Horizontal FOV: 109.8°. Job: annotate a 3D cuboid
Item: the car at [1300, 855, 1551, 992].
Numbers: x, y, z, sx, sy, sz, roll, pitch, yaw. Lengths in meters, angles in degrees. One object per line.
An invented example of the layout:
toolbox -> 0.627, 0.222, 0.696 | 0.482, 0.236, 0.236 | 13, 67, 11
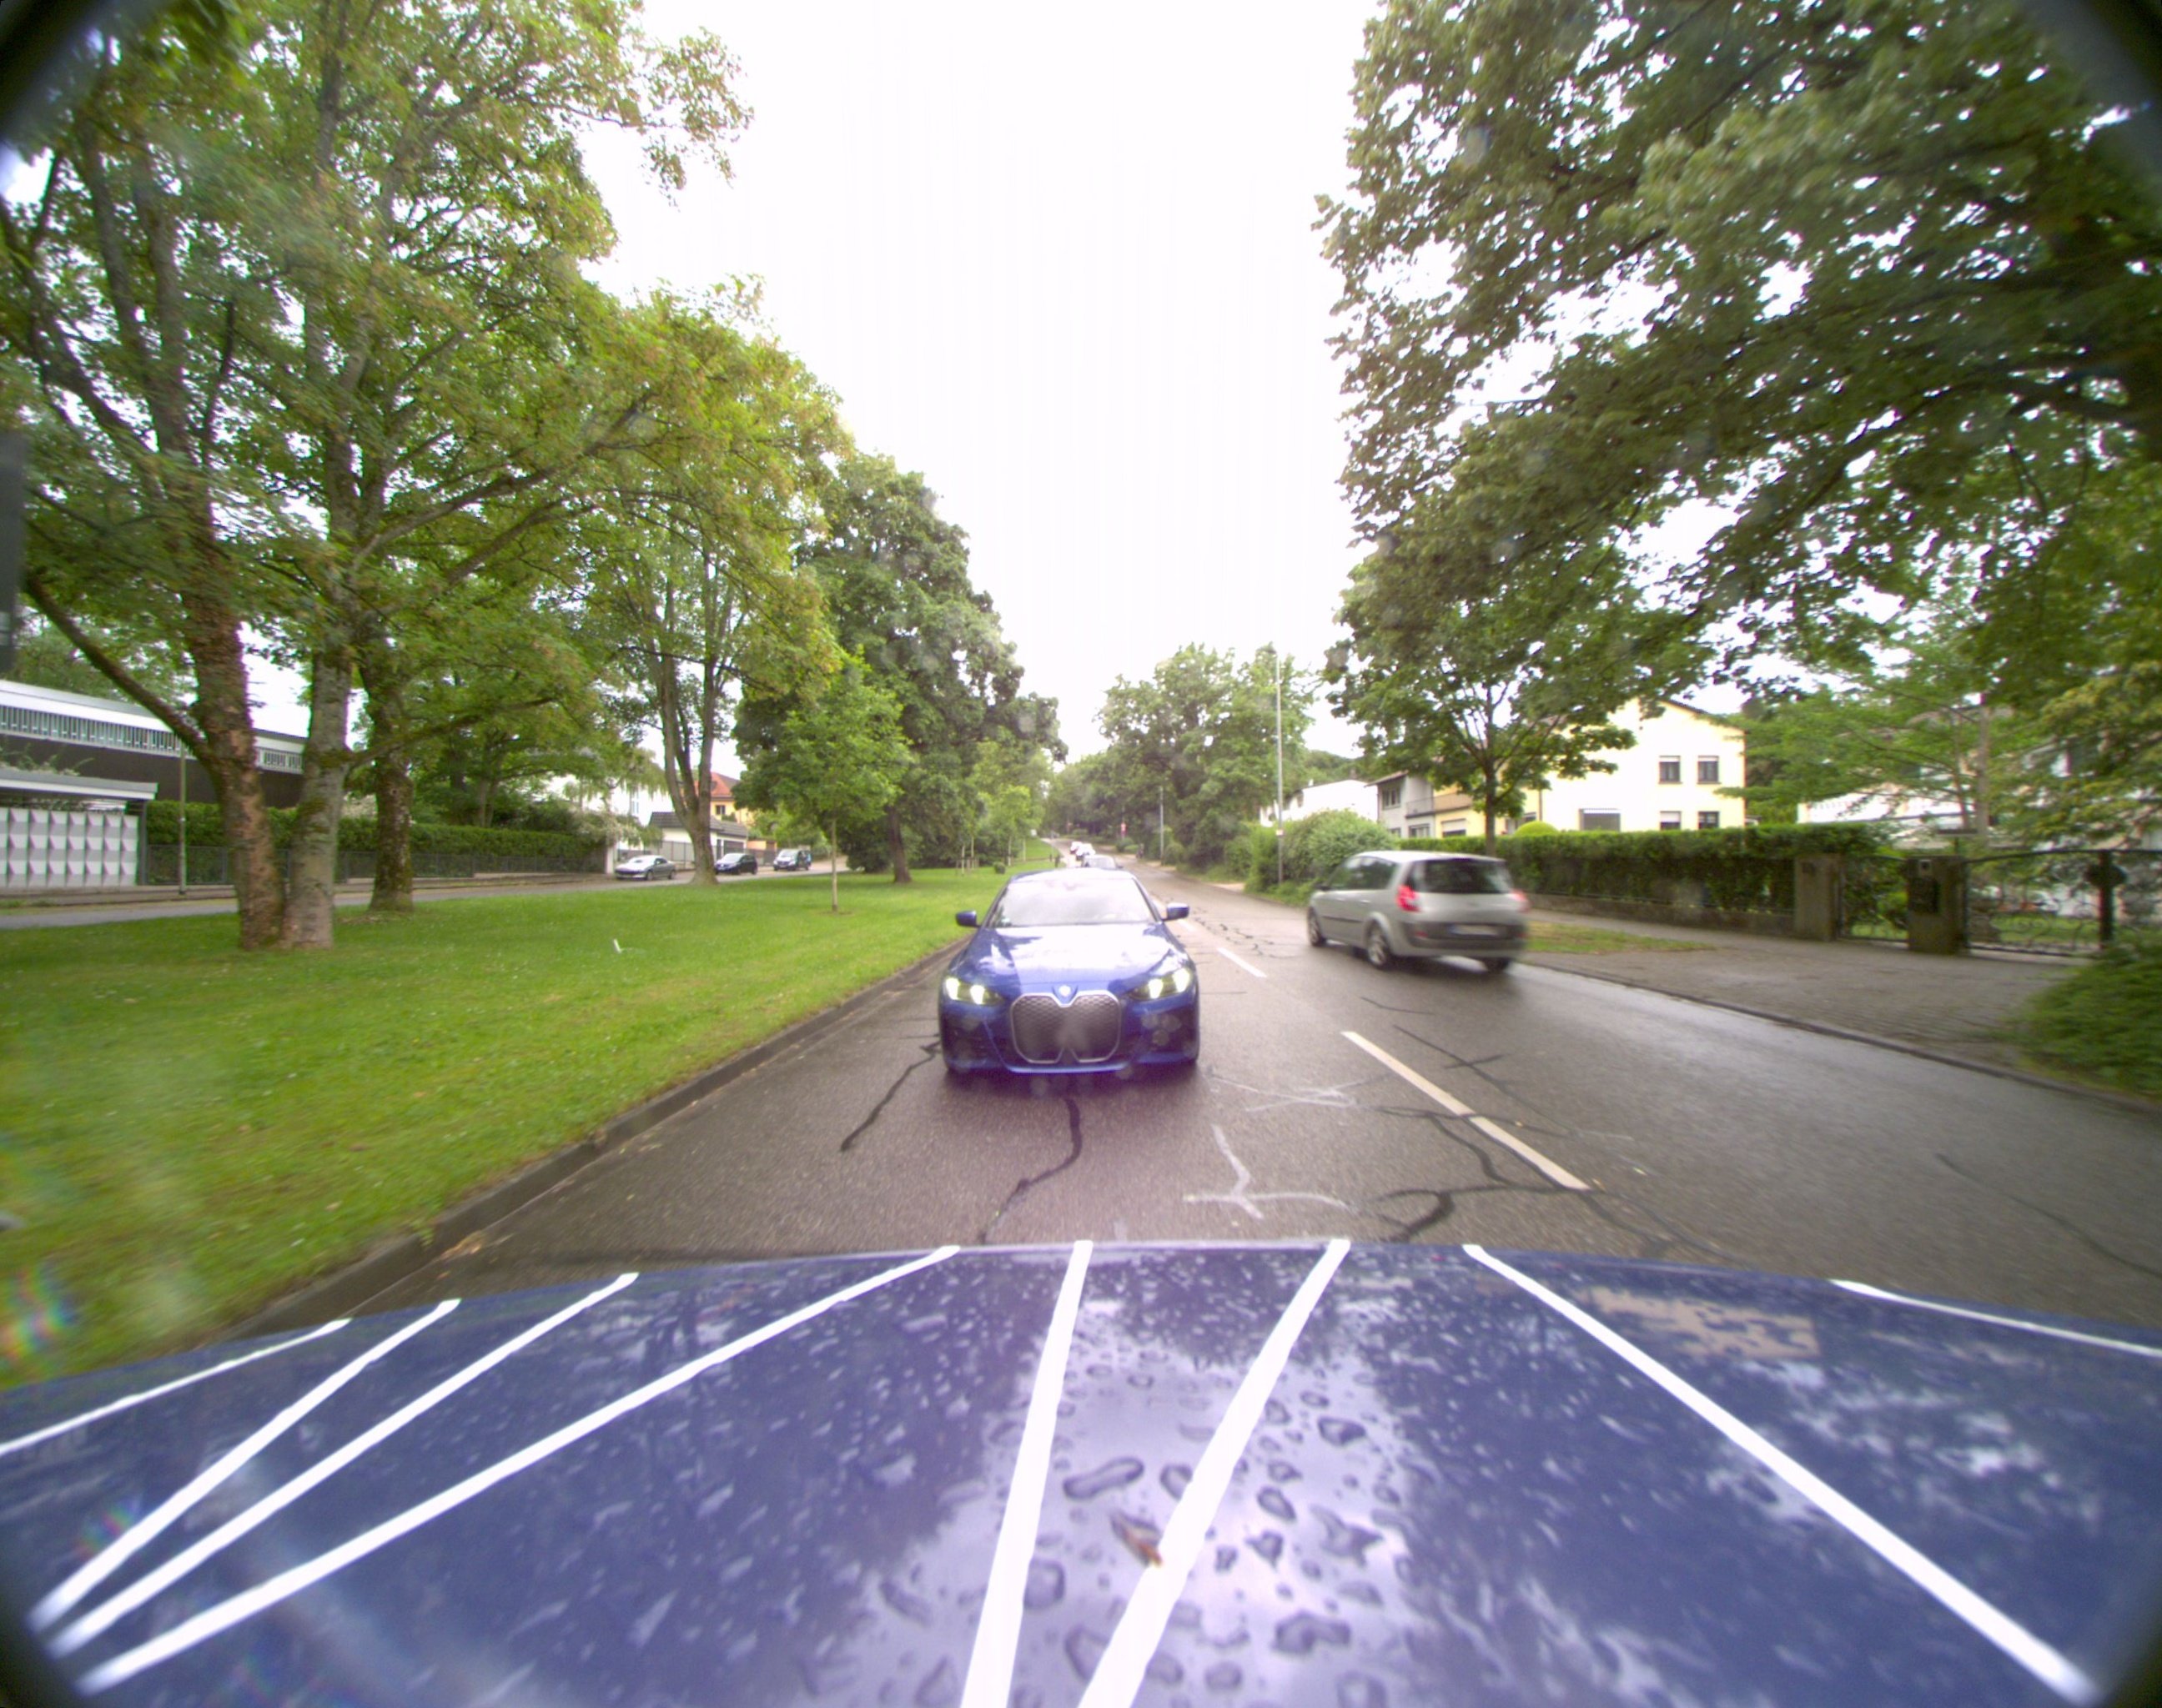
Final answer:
car -> 4.701, 0.833, 11.129 | 1.768, 1.604, 4.141 | 1, 0, 0

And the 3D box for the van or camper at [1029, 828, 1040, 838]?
van or camper -> -9.207, -4.155, 149.727 | 2.000, 1.859, 5.658 | 0, 3, -7

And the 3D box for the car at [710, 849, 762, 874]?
car -> -24.121, 0.496, 53.242 | 1.907, 1.615, 4.033 | 0, 1, -2

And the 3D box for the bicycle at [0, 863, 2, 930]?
bicycle -> -17.577, 0.665, 11.217 | 0.597, 1.132, 1.863 | 0, 1, 1

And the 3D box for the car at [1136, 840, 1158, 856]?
car -> 7.129, -0.684, 82.298 | 1.668, 1.534, 4.281 | -4, 2, -3

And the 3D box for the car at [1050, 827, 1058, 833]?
car -> -6.164, -5.555, 176.186 | 1.759, 1.356, 4.322 | 1, 3, -1

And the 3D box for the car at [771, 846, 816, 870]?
car -> -24.848, 0.310, 65.931 | 2.165, 1.868, 5.067 | 0, 1, -2

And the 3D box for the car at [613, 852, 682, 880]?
car -> -23.478, 0.638, 41.278 | 1.686, 1.367, 3.708 | 2, 1, -2

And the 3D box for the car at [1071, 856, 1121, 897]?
car -> 0.624, 0.806, 29.684 | 1.796, 1.459, 4.510 | 0, 0, 2

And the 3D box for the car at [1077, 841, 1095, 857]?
car -> 0.536, -0.496, 77.707 | 1.678, 1.542, 3.831 | 1, 1, 1

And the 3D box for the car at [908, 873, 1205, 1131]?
car -> -0.060, 0.990, 7.001 | 1.796, 1.458, 4.511 | -2, 0, 2
